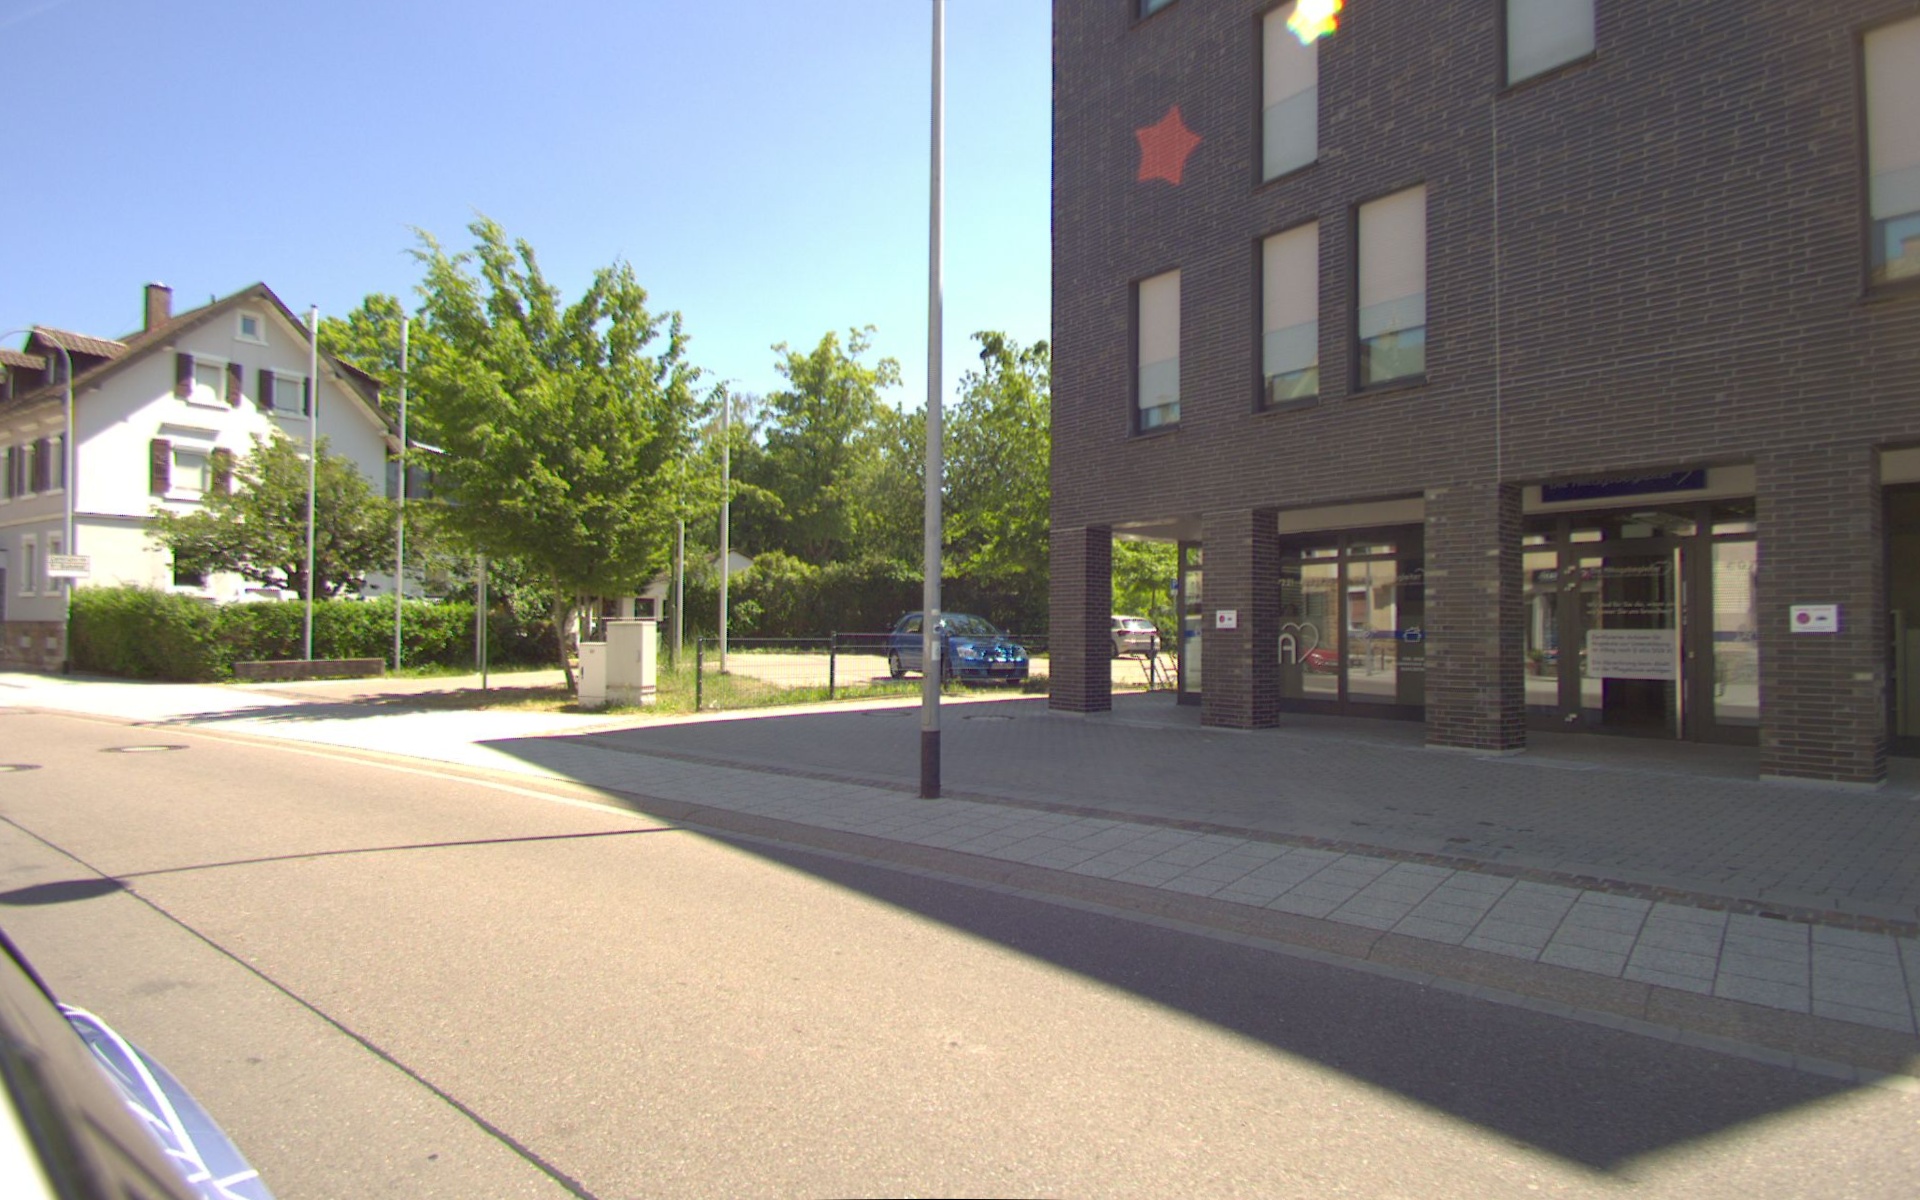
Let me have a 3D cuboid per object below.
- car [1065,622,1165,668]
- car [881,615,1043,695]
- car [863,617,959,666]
[{"bbox_3d":[5.252,1.508,34.826,1.662,1.503,3.779,1,-2,-23],"label":"car"},{"bbox_3d":[-0.070,1.078,20.949,1.670,1.497,4.093,1,-2,-27],"label":"car"},{"bbox_3d":[-1.647,1.315,32.963,1.662,1.503,3.779,1,-2,-28],"label":"car"}]
